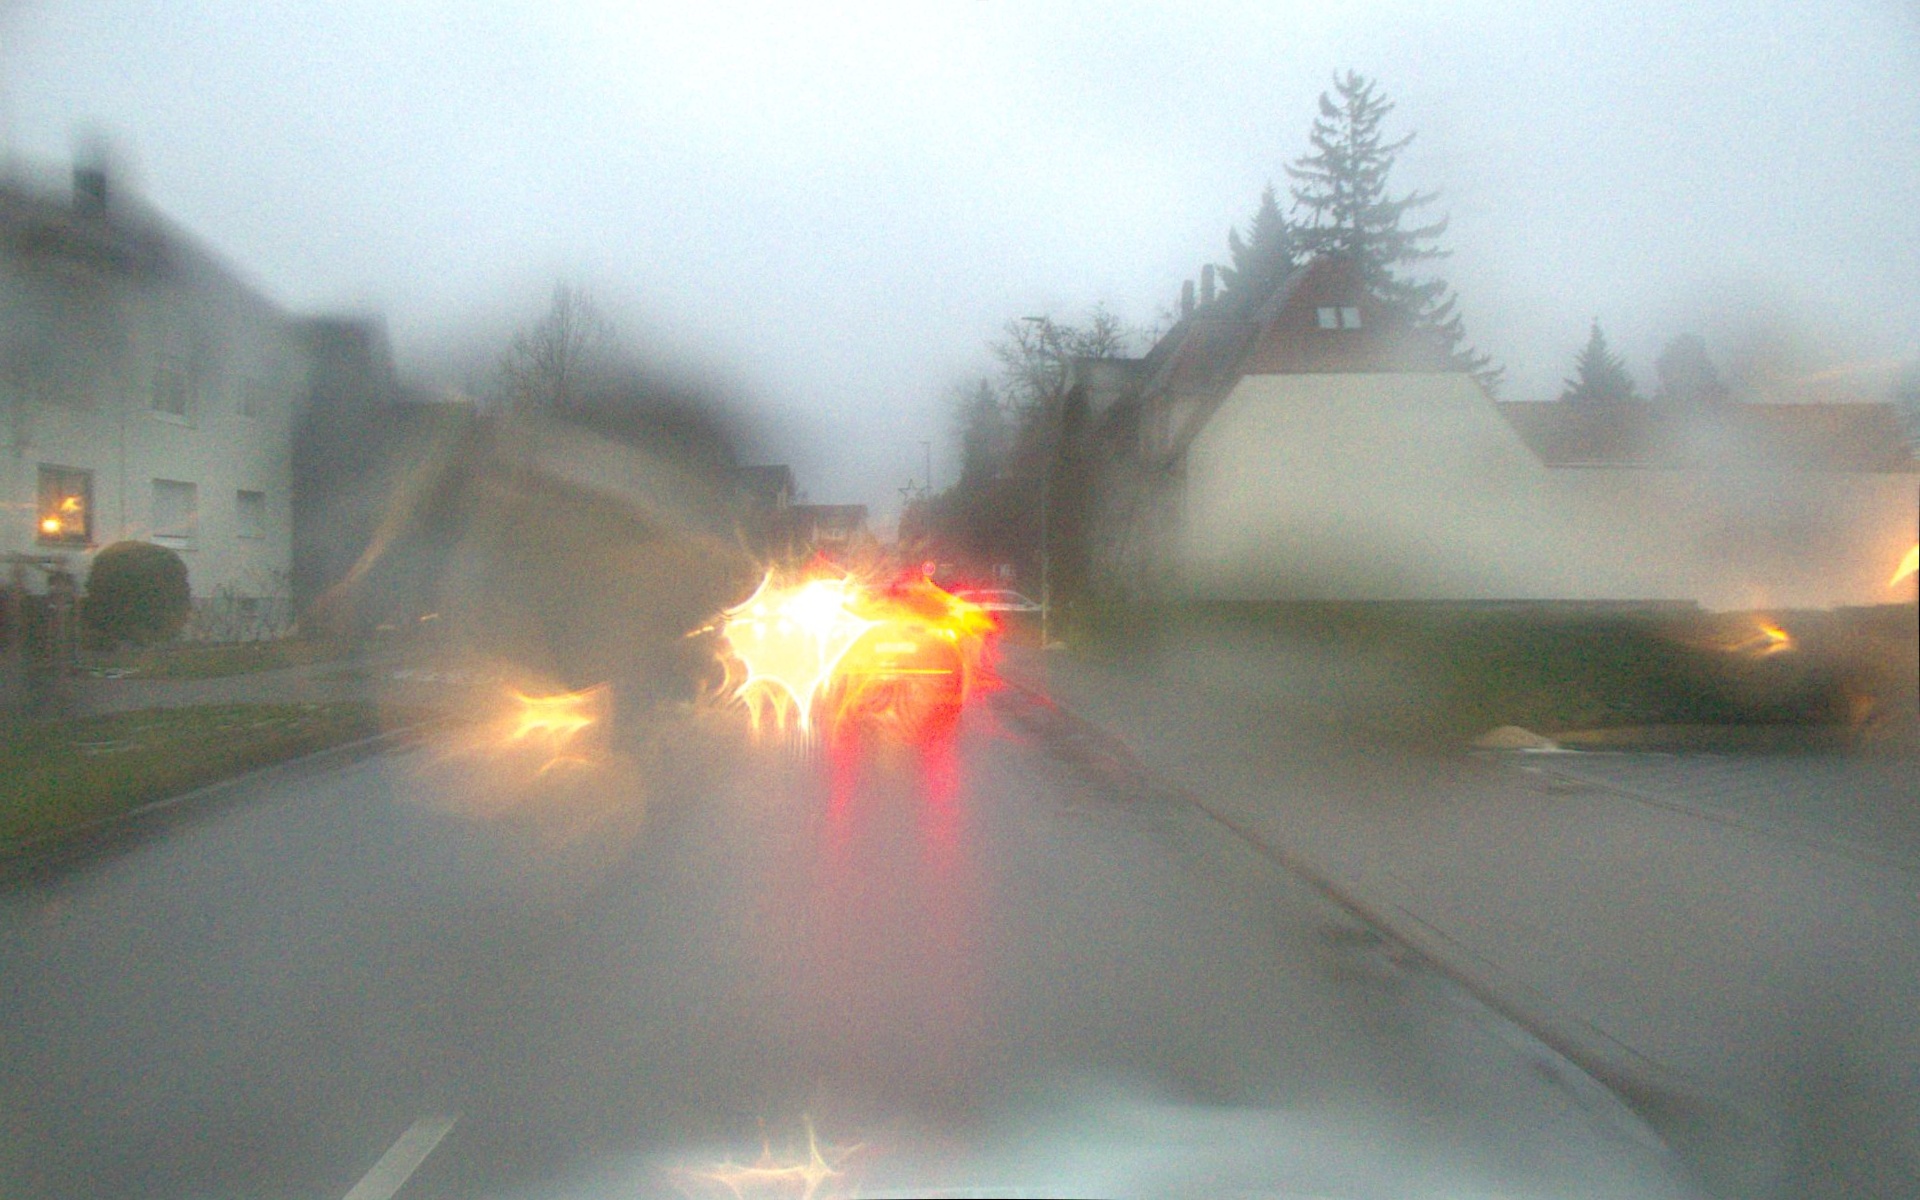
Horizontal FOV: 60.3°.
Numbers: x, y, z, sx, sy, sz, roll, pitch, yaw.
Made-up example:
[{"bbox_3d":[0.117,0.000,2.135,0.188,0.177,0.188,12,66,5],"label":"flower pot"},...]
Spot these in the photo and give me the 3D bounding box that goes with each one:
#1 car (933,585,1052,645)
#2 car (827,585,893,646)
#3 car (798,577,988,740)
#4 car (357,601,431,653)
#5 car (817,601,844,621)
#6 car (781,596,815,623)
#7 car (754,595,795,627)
[{"bbox_3d":[1.134,0.523,58.827,4.160,2.049,1.810,-1,0,-1],"label":"car"},{"bbox_3d":[-2.951,0.425,48.150,1.821,1.676,3.996,1,1,-5],"label":"car"},{"bbox_3d":[-1.058,0.730,22.725,2.265,1.972,5.011,0,0,-6],"label":"car"},{"bbox_3d":[-16.704,0.780,48.941,1.748,1.417,3.984,2,-1,-15],"label":"car"},{"bbox_3d":[-9.318,0.785,119.324,1.806,1.355,3.935,-1,0,-4],"label":"car"},{"bbox_3d":[-10.032,0.562,102.725,1.875,1.456,3.999,0,3,-3],"label":"car"},{"bbox_3d":[-9.847,0.571,87.996,1.875,1.549,3.999,0,2,-3],"label":"car"}]
